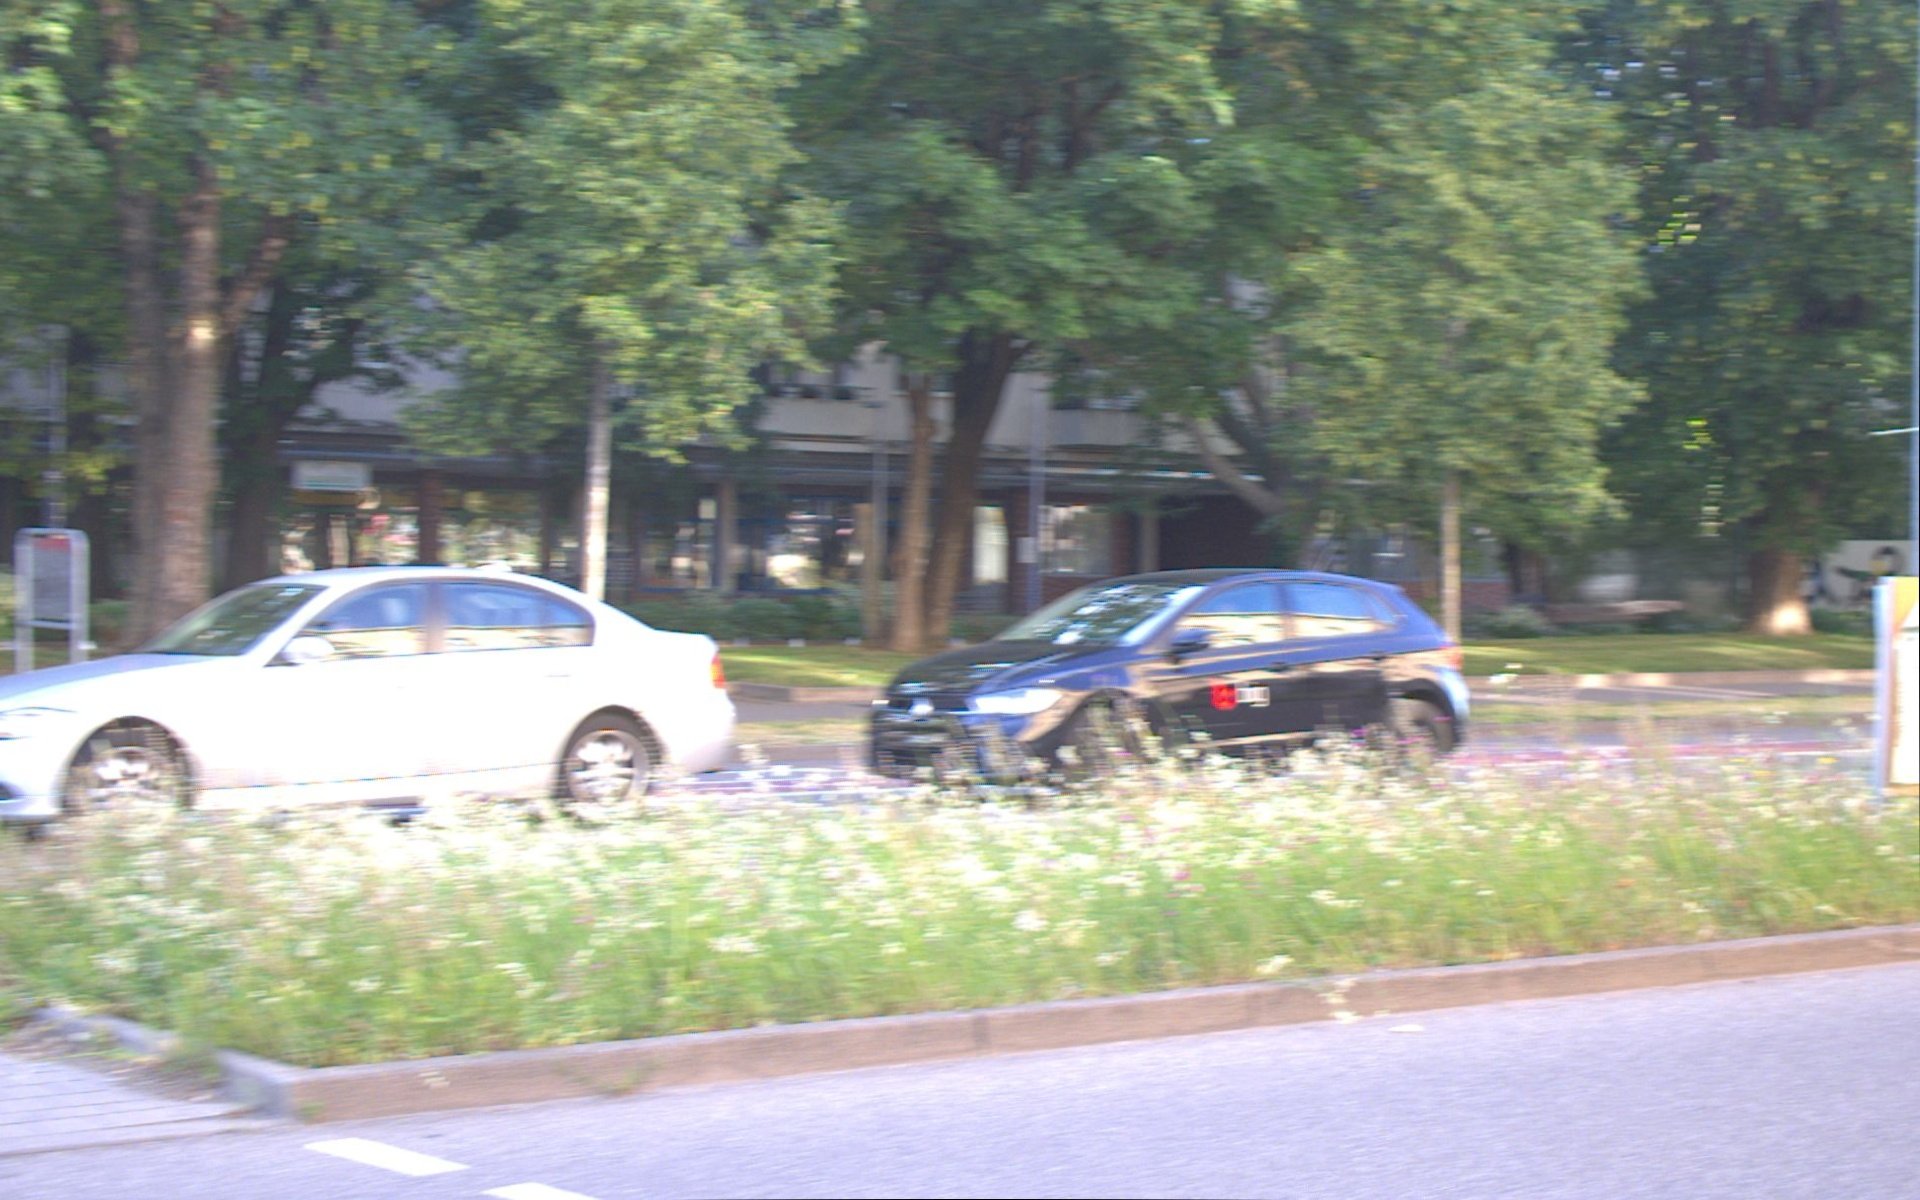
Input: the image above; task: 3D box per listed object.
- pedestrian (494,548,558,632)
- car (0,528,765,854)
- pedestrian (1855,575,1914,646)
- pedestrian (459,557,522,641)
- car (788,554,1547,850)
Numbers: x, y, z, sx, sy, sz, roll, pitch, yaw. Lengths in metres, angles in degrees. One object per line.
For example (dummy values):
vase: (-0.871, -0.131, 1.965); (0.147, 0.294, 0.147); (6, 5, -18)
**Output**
pedestrian: (-6.989, -0.161, 55.333); (0.714, 1.335, 0.829); (0, 1, -34)
car: (-3.499, 0.461, 18.458); (4.535, 1.555, 1.999); (0, -1, -36)
pedestrian: (20.427, 0.233, 75.943); (0.892, 1.535, 0.904); (0, 1, -44)
pedestrian: (-7.512, -0.019, 54.985); (0.663, 1.335, 0.908); (0, 1, -34)
car: (1.366, 0.577, 21.668); (4.535, 1.670, 2.000); (0, 1, -36)
